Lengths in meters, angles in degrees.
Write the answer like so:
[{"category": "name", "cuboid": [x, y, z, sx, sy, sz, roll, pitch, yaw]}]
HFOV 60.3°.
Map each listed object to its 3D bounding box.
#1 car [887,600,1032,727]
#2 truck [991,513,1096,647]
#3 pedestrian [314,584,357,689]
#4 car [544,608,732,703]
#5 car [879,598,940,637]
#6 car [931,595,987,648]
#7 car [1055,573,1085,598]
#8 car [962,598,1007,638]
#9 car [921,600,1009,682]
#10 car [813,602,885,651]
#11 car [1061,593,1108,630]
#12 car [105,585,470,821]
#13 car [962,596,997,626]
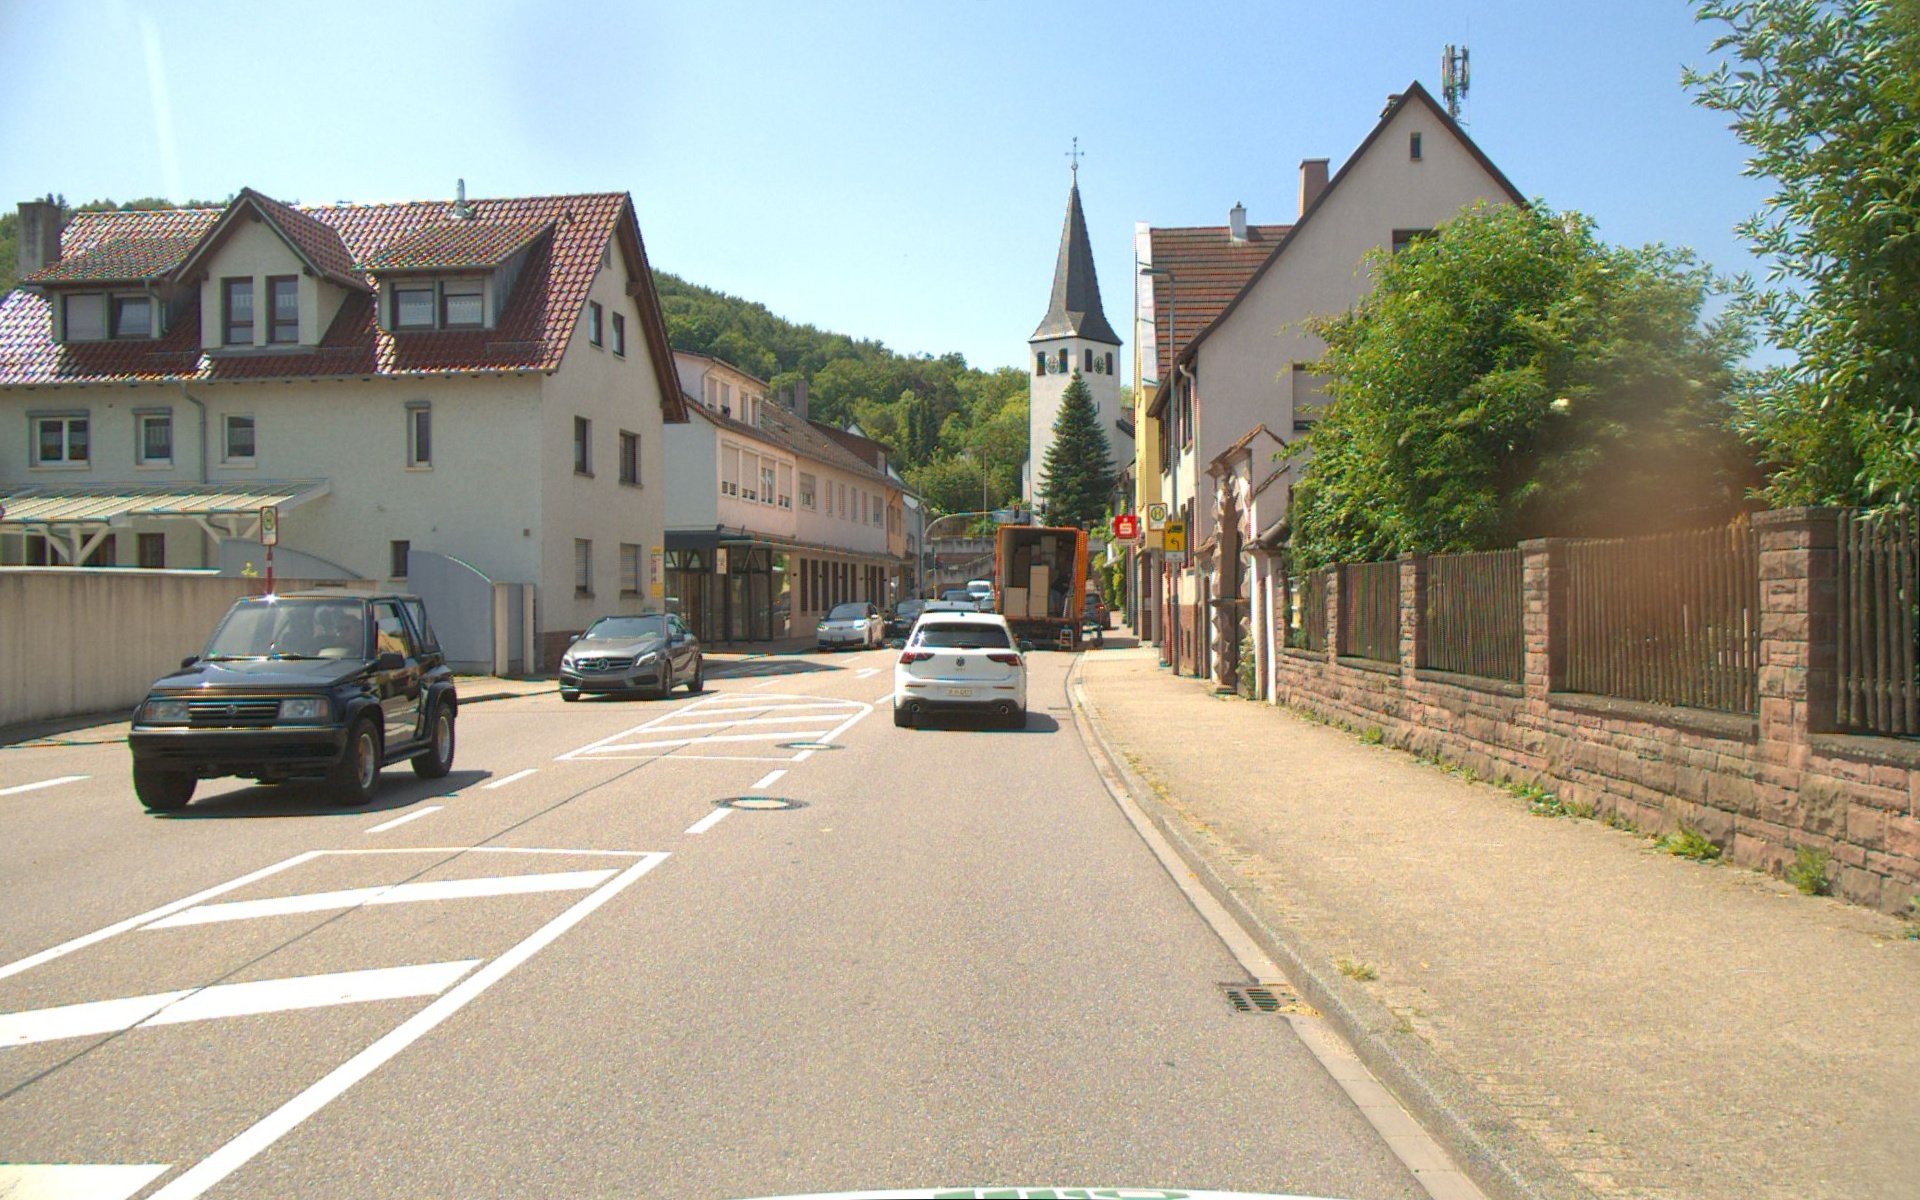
[{"category": "car", "cuboid": [0.020, 0.810, 22.459, 1.778, 1.546, 4.000, 1, -1, 1]}, {"category": "truck", "cuboid": [2.949, -0.593, 58.291, 3.297, 4.243, 9.522, -2, -1, 3]}, {"category": "pedestrian", "cuboid": [-10.717, 0.620, 28.388, 0.425, 1.795, 0.557, -1, 0, 19]}, {"category": "car", "cuboid": [-5.462, 0.912, 28.617, 1.823, 1.467, 4.220, -2, -1, 9]}, {"category": "car", "cuboid": [-2.031, 0.721, 67.877, 1.755, 1.519, 4.424, -2, -1, 8]}, {"category": "car", "cuboid": [-0.010, 0.722, 55.831, 1.778, 1.657, 4.000, -2, -1, 1]}, {"category": "car", "cuboid": [7.396, -0.983, 111.293, 1.778, 1.545, 4.000, -2, -1, 1]}, {"category": "car", "cuboid": [1.025, 0.741, 68.607, 1.778, 1.545, 4.000, -2, -1, 1]}, {"category": "car", "cuboid": [0.126, 0.886, 36.524, 1.778, 1.657, 4.000, -2, -1, 1]}, {"category": "car", "cuboid": [-3.645, 0.872, 55.062, 1.757, 1.534, 4.136, -2, -1, 5]}, {"category": "car", "cuboid": [5.505, 0.527, 73.416, 1.778, 1.545, 4.000, -2, -1, 1]}, {"category": "car", "cuboid": [-5.390, 0.744, 13.765, 1.704, 1.680, 3.666, 0, 0, -3]}, {"category": "car", "cuboid": [1.296, 0.669, 106.397, 1.763, 1.811, 4.708, -2, 0, 6]}]
